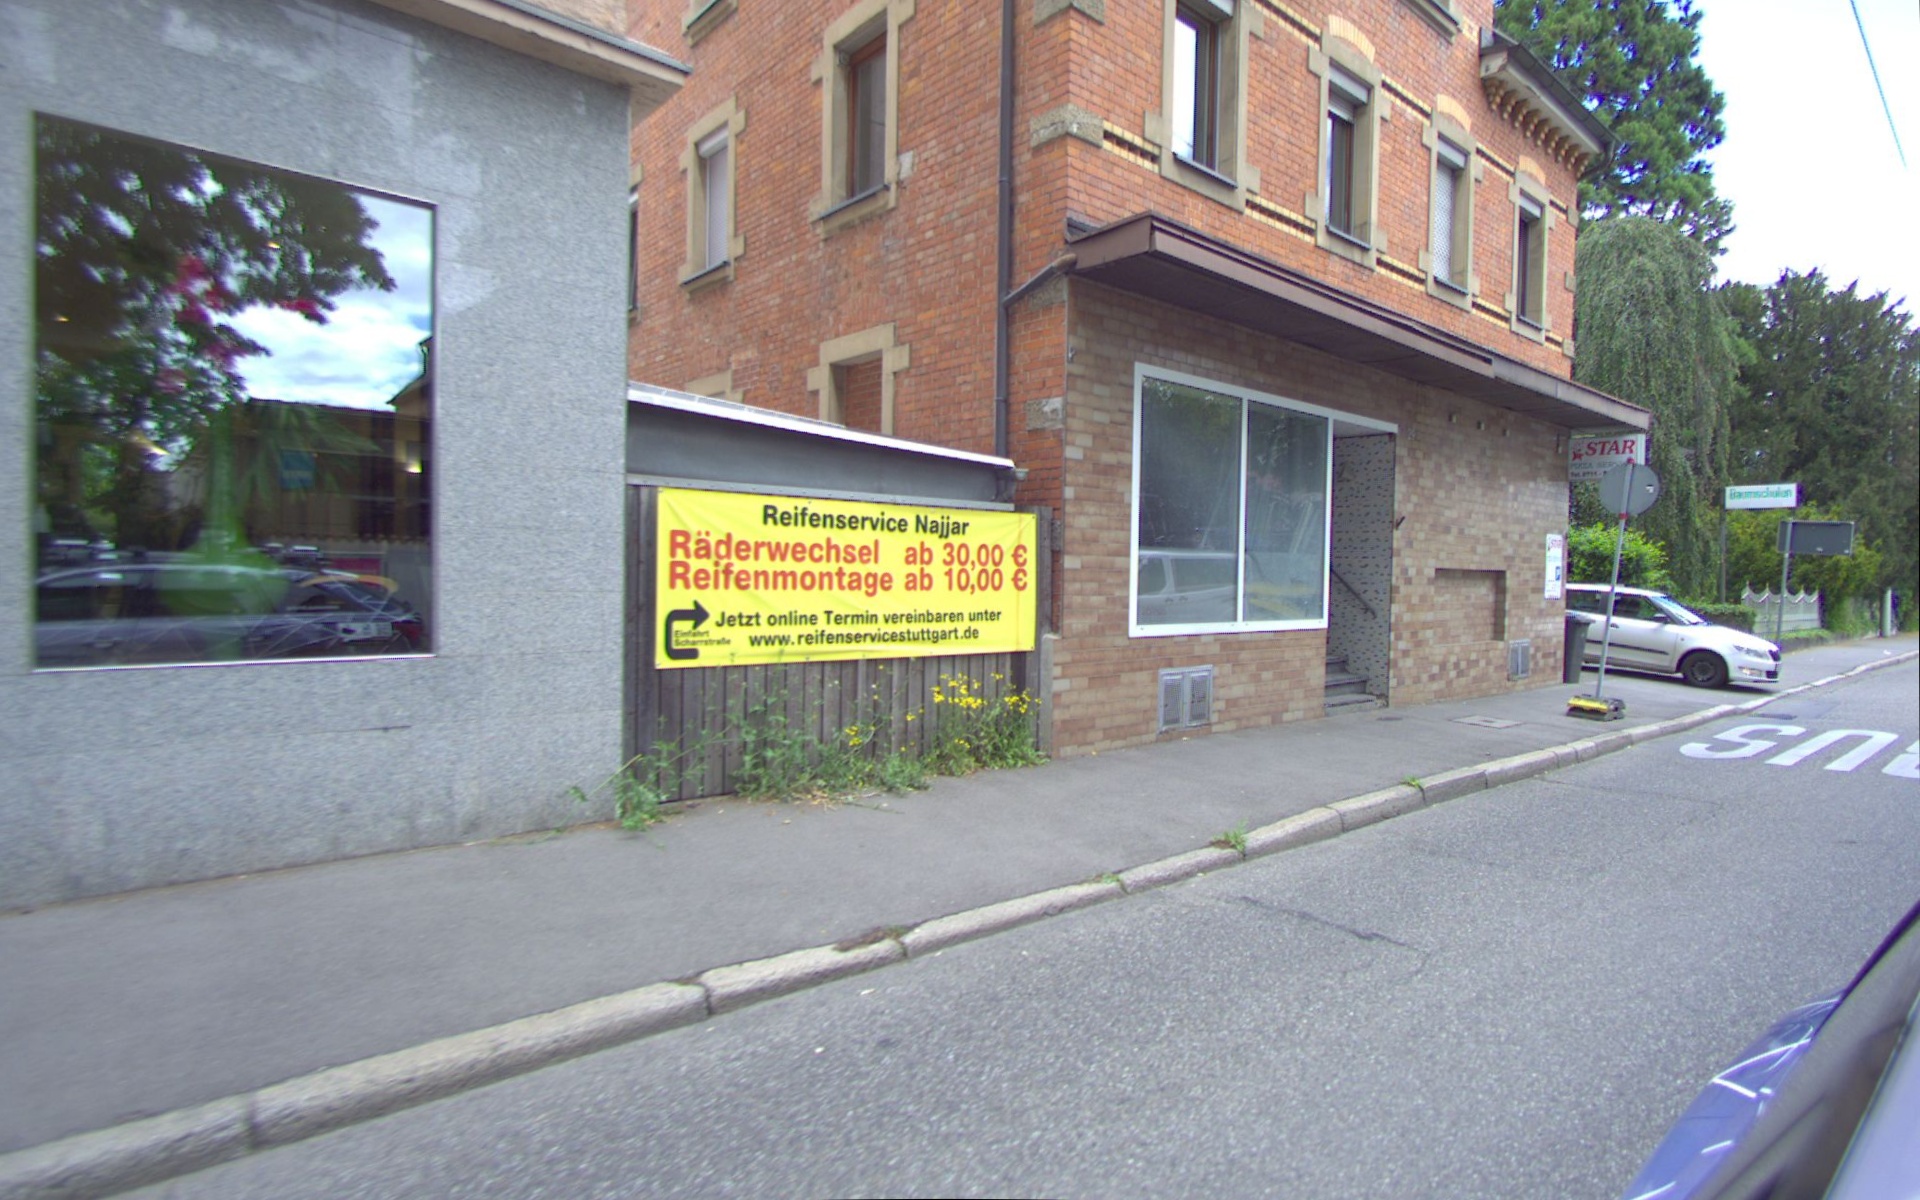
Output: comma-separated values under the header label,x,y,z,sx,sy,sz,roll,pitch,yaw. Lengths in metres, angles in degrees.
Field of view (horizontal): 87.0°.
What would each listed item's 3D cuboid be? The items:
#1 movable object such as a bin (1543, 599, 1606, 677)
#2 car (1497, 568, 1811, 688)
label,x,y,z,sx,sy,sz,roll,pitch,yaw
movable object such as a bin,9.302,0.558,15.317,0.611,1.114,0.608,0,4,-40
car,11.590,0.360,17.127,1.574,1.487,4.037,-1,6,-42
